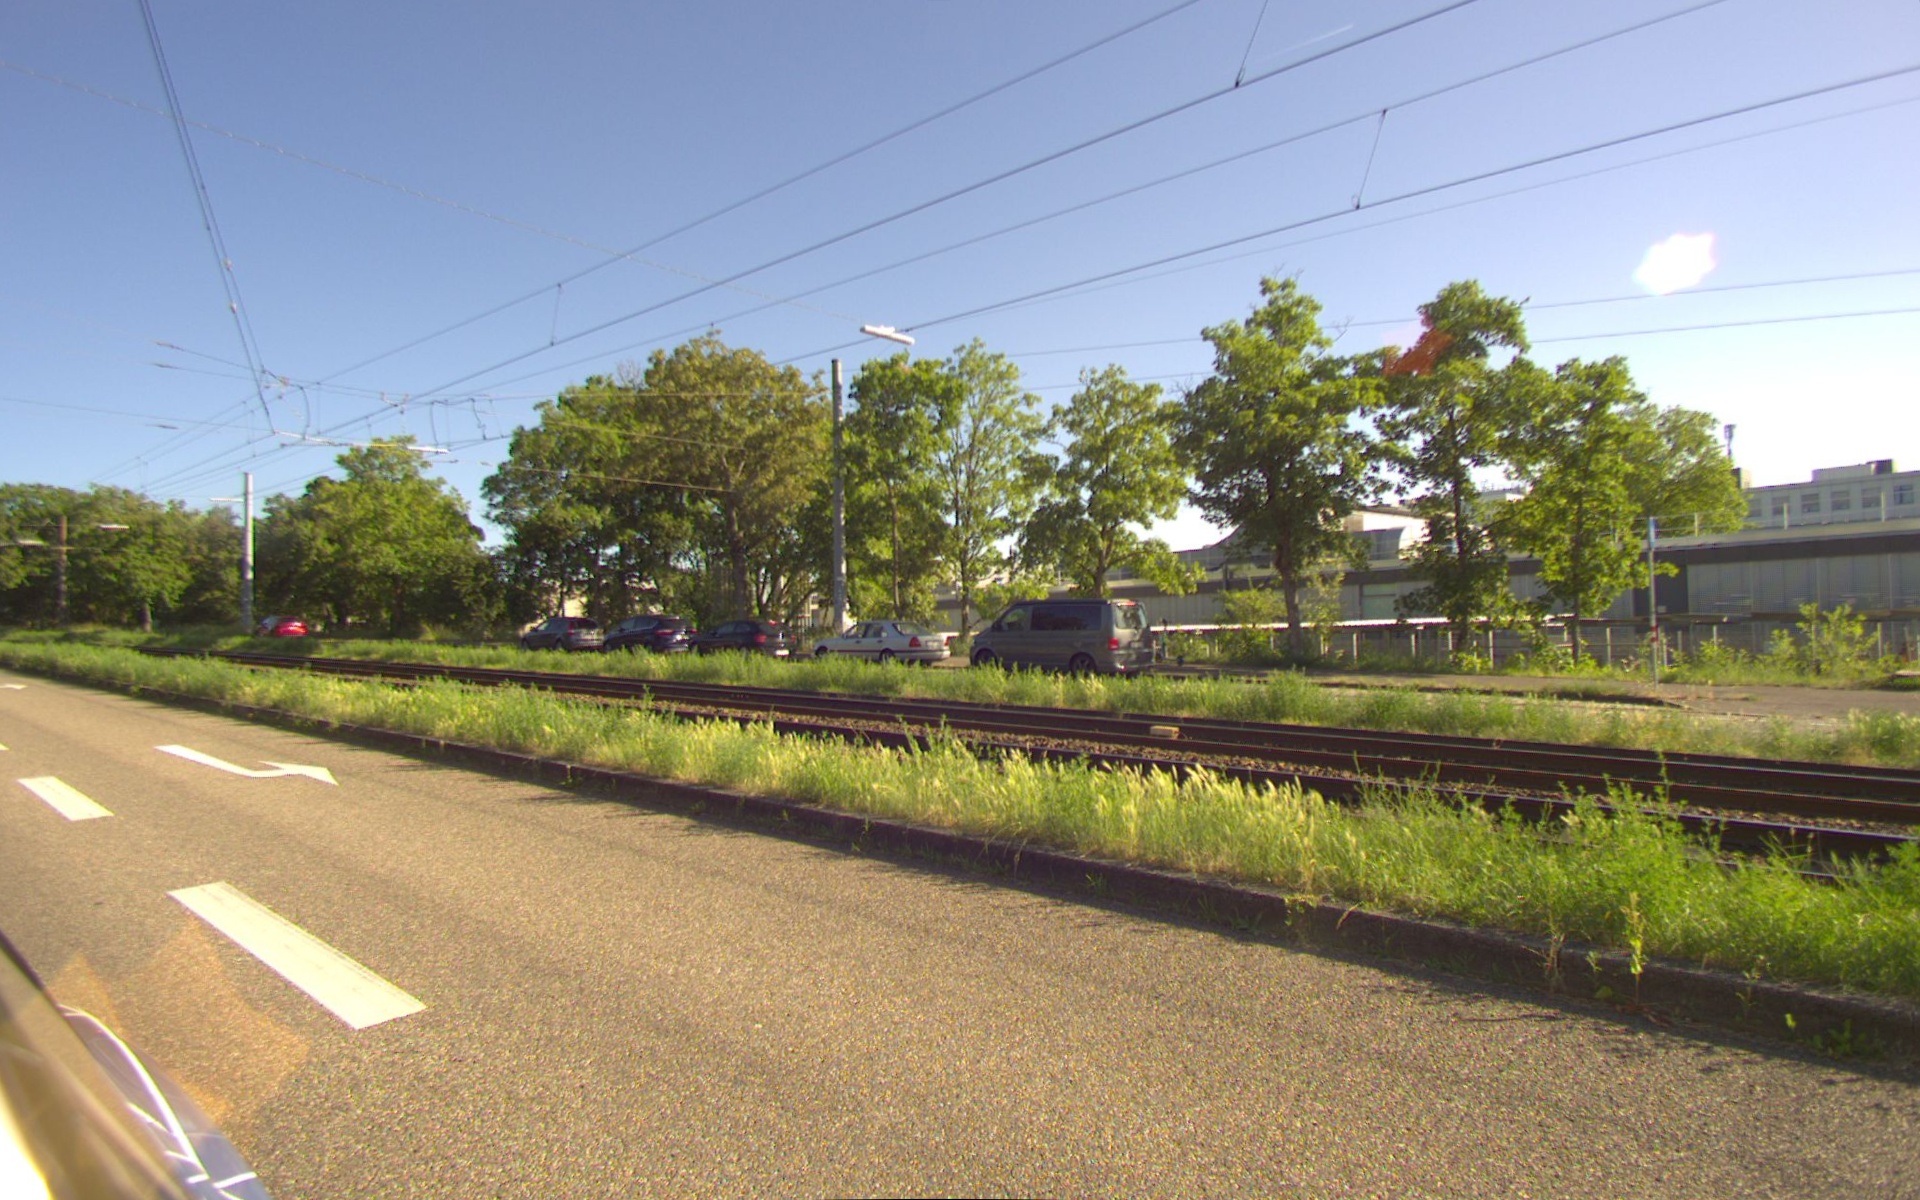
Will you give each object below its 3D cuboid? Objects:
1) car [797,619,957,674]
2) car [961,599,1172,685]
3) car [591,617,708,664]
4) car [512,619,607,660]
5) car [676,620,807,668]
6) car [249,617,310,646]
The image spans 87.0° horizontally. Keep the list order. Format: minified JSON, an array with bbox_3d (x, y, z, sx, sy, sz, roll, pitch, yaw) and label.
[{"bbox_3d":[-2.463,1.313,29.210,4.692,1.448,1.908,-2,-2,41],"label":"car"},{"bbox_3d":[2.521,0.984,24.800,4.791,1.905,2.173,-2,-1,43],"label":"car"},{"bbox_3d":[-11.327,1.444,36.778,4.430,1.586,1.974,-2,-1,39],"label":"car"},{"bbox_3d":[-16.348,1.570,41.222,4.323,1.505,1.718,-1,0,39],"label":"car"},{"bbox_3d":[-7.240,1.435,33.314,4.412,1.448,1.973,-2,-2,41],"label":"car"},{"bbox_3d":[-42.205,1.963,62.767,4.462,1.715,1.984,-1,-1,40],"label":"car"}]
